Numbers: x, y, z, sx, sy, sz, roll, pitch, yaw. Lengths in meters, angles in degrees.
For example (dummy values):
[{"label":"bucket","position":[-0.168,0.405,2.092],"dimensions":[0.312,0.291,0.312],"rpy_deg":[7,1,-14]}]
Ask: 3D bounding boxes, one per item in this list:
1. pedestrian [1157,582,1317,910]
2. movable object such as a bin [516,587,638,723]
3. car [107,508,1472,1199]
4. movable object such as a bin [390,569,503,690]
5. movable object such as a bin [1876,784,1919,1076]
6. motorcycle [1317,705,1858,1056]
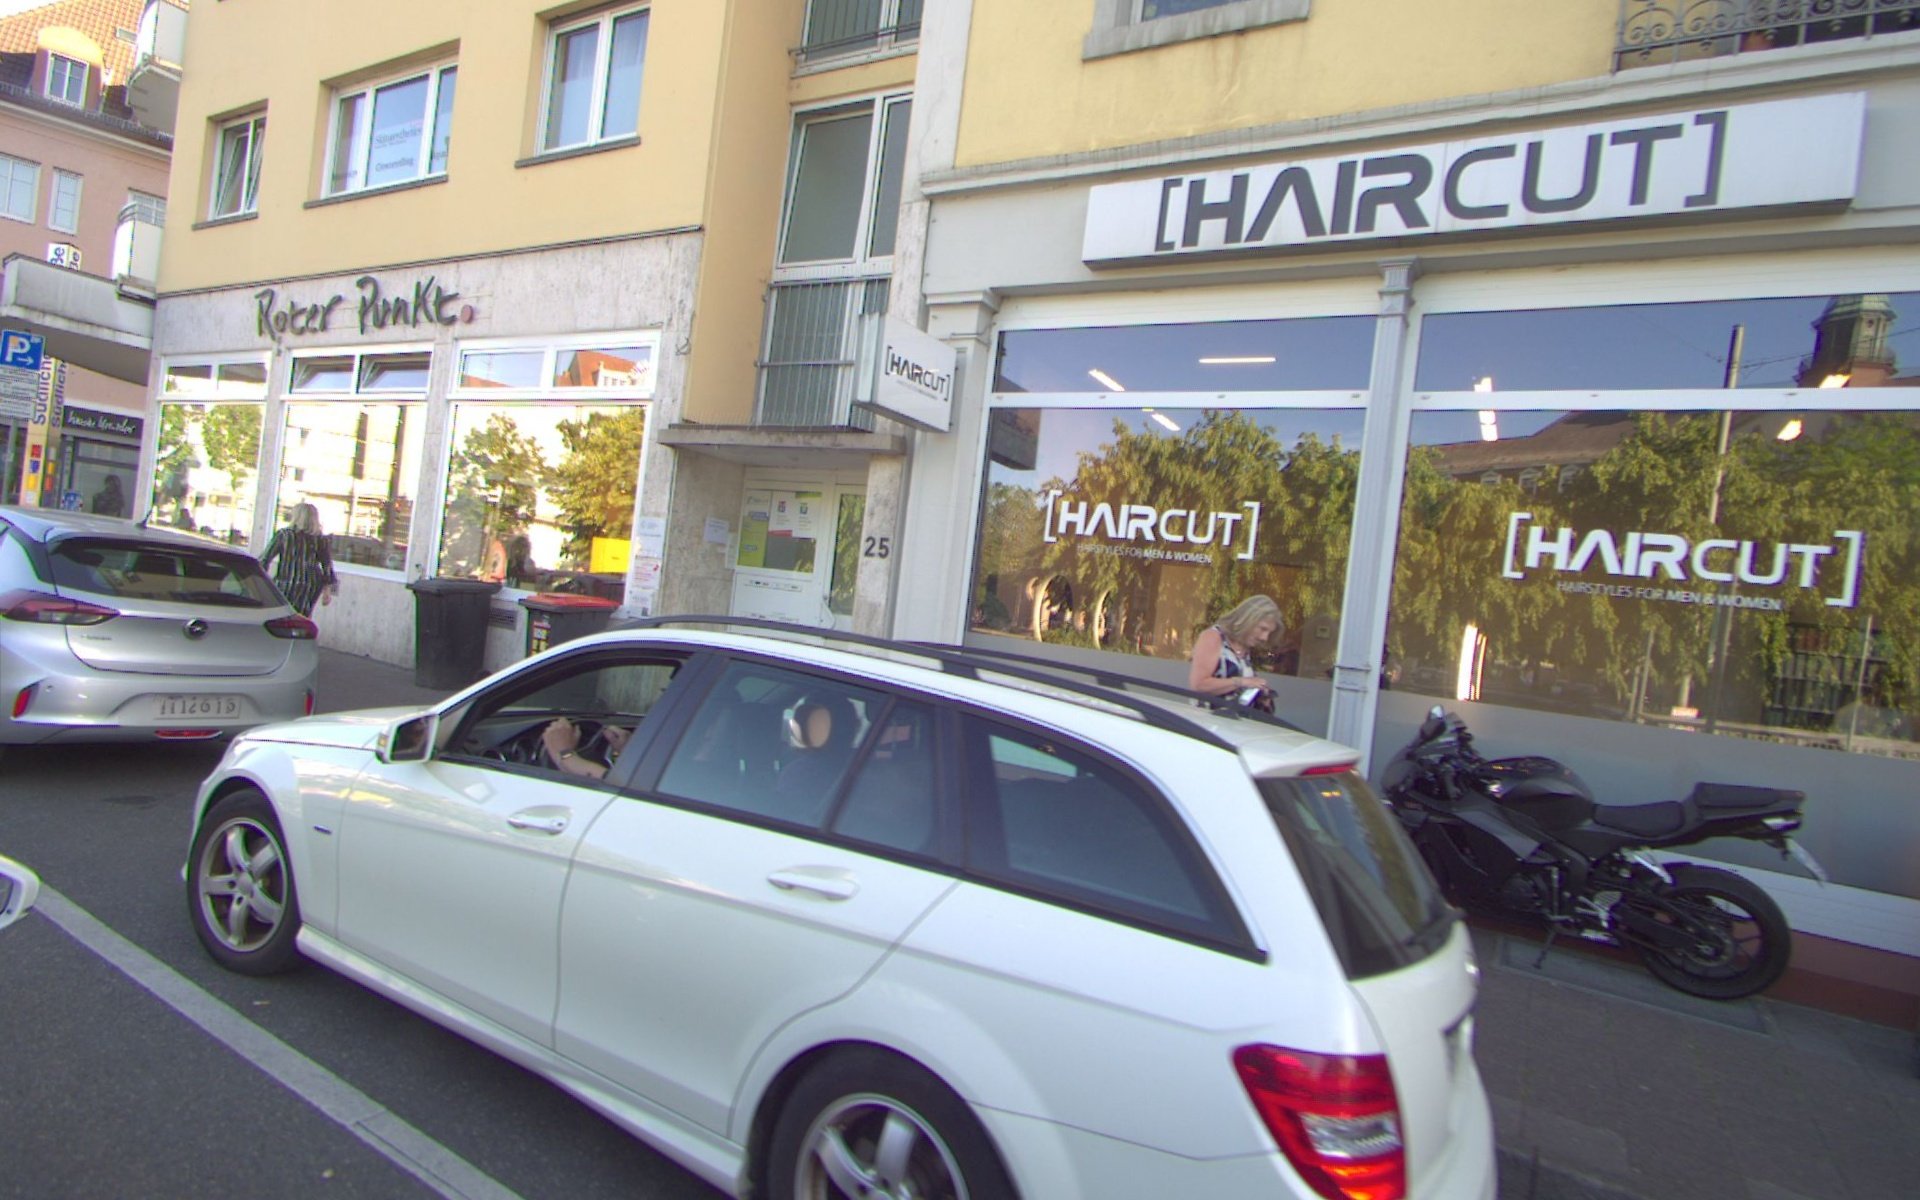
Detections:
[{"label":"pedestrian","position":[1.556,0.771,5.605],"dimensions":[0.523,1.653,0.697],"rpy_deg":[7,1,29]},{"label":"movable object such as a bin","position":[-3.353,0.467,8.818],"dimensions":[0.609,1.082,0.703],"rpy_deg":[7,3,31]},{"label":"car","position":[-0.839,0.680,3.432],"dimensions":[4.389,1.464,1.741],"rpy_deg":[7,-1,31]},{"label":"movable object such as a bin","position":[-4.984,0.281,9.780],"dimensions":[0.609,1.082,0.703],"rpy_deg":[7,3,31]},{"label":"movable object such as a bin","position":[4.143,1.341,3.949],"dimensions":[0.609,1.055,0.659],"rpy_deg":[7,3,34]},{"label":"motorcycle","position":[2.844,1.211,4.803],"dimensions":[1.975,1.105,0.551],"rpy_deg":[7,1,31]}]
